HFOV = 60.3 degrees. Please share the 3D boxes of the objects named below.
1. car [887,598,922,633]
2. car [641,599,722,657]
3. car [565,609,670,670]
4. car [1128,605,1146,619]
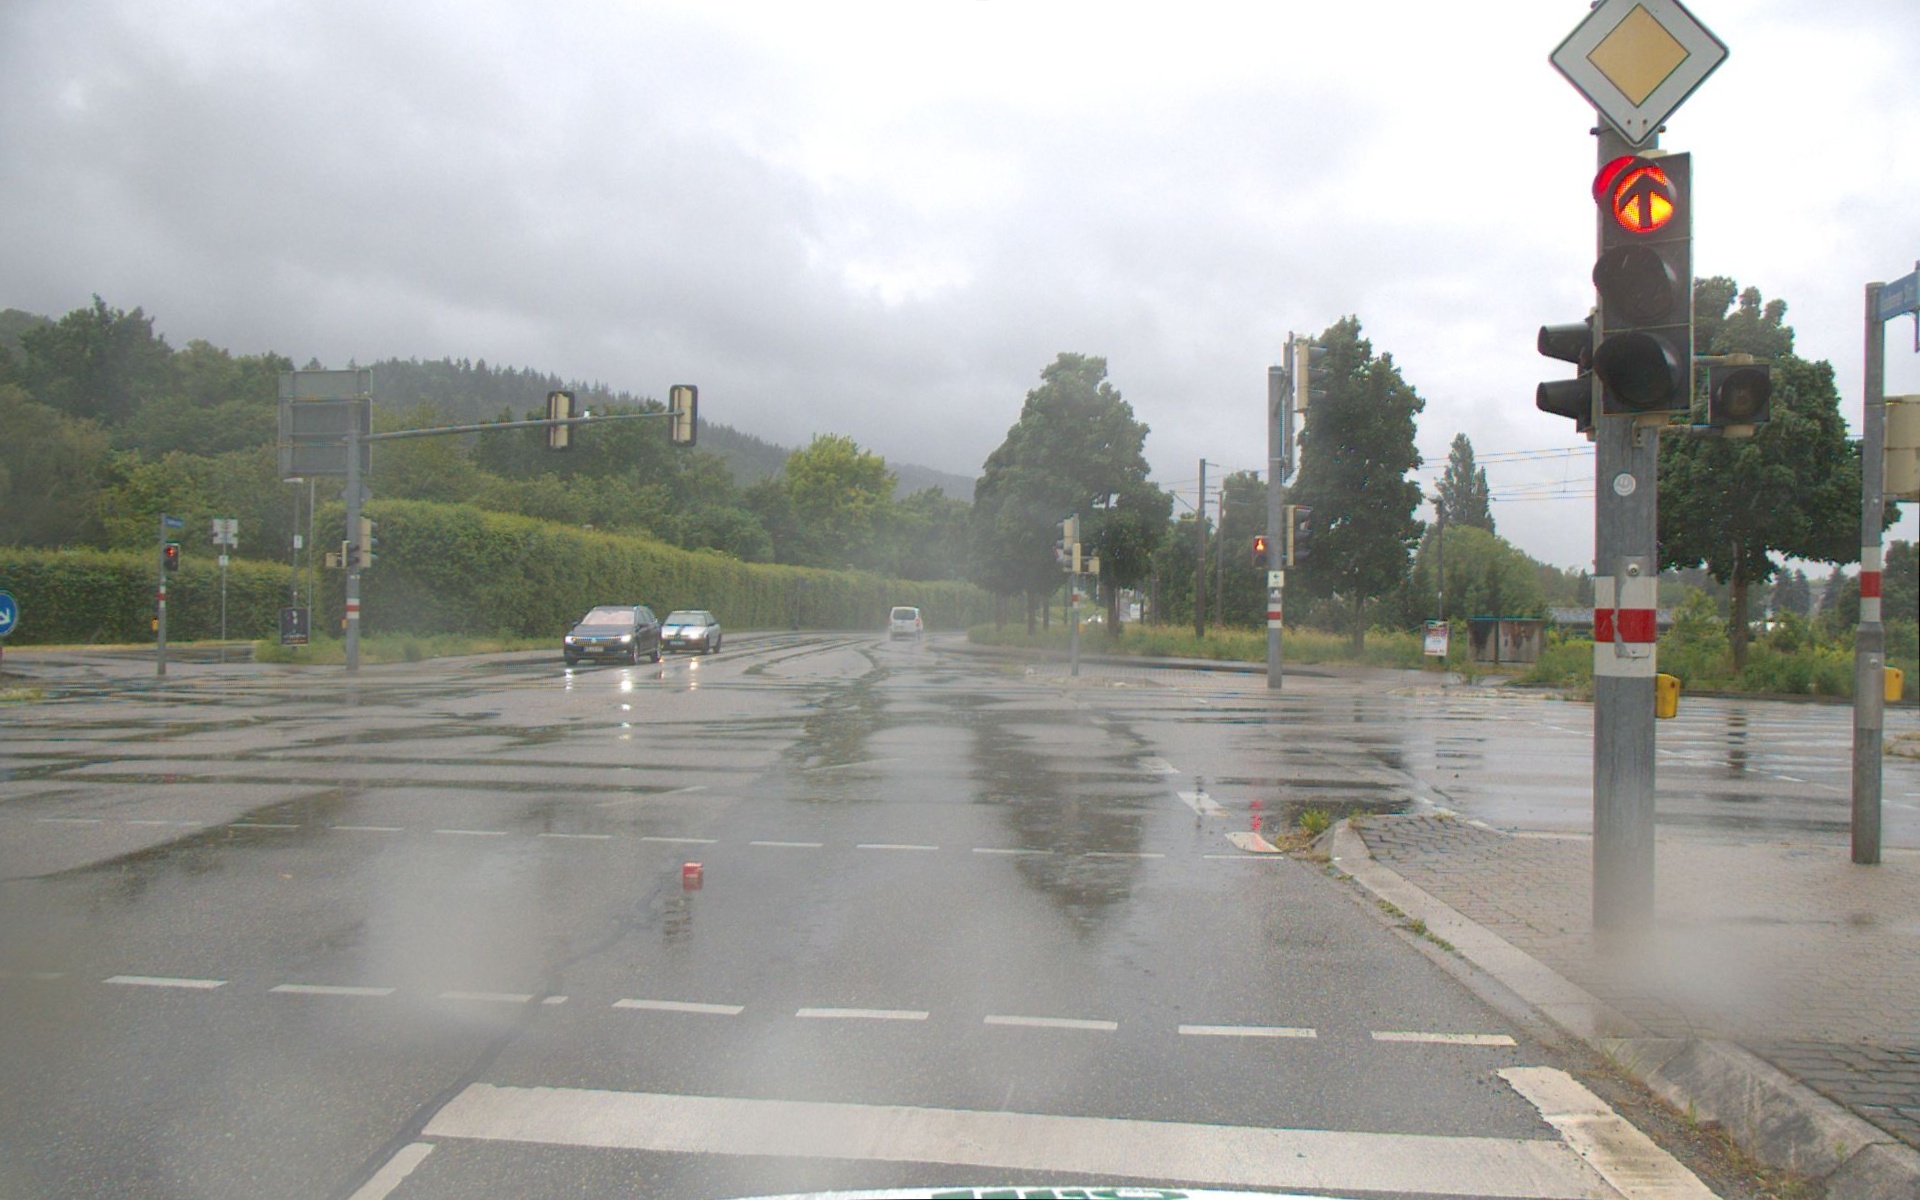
[{"bbox_3d":[-3.147,0.862,93.445,1.914,1.937,4.118,0,0,-3],"label":"car"},{"bbox_3d":[-8.982,0.873,53.621,1.995,1.738,4.065,1,0,-1],"label":"car"},{"bbox_3d":[-8.889,0.981,43.277,1.673,1.491,4.454,0,0,2],"label":"car"},{"bbox_3d":[24.843,1.728,232.094,1.891,1.923,4.065,0,0,13],"label":"car"}]
